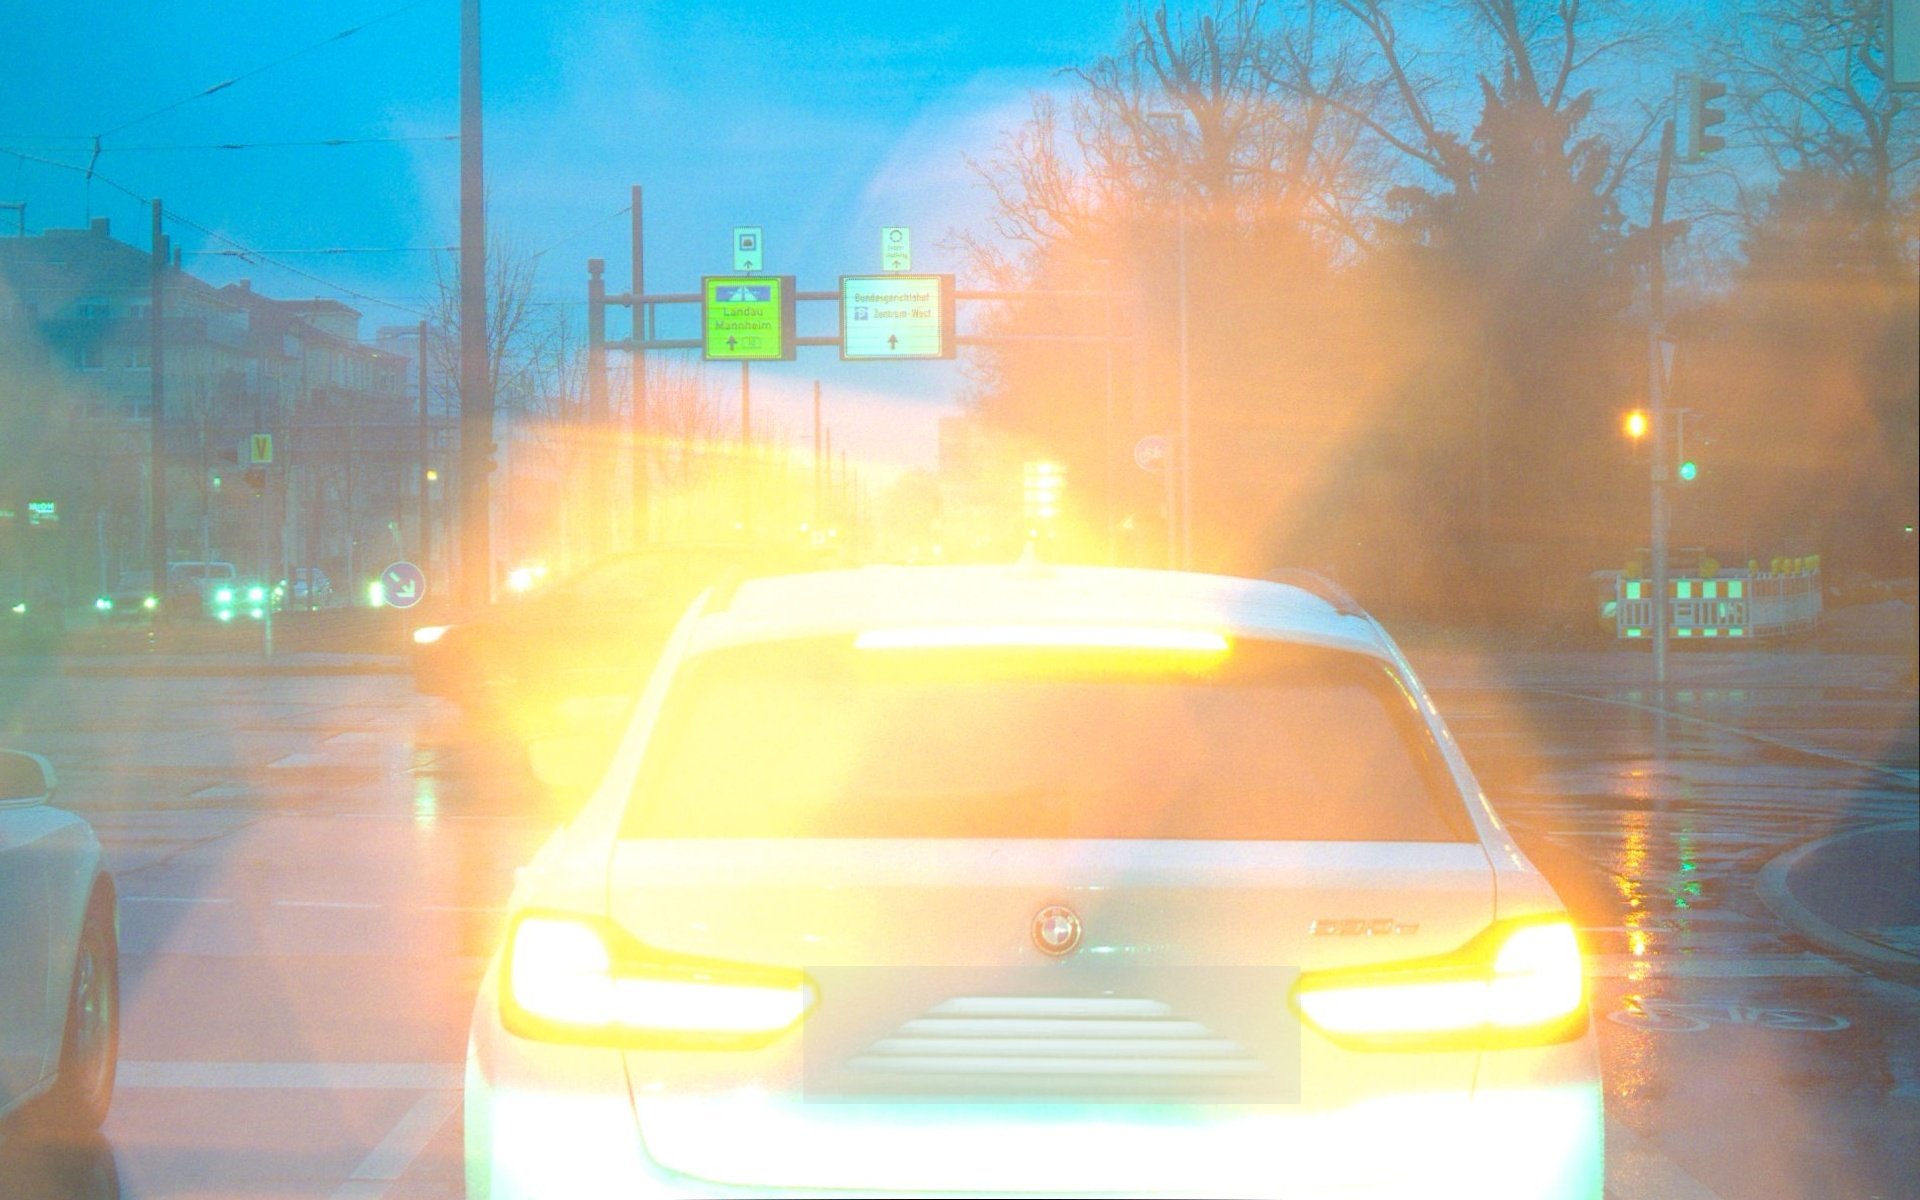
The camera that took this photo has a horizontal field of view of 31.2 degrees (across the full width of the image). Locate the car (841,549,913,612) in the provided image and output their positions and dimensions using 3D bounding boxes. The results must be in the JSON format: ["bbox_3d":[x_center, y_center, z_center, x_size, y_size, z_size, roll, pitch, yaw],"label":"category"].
[{"bbox_3d":[-2.237,-0.516,92.035,1.843,1.603,3.945,1,0,-2],"label":"car"}]

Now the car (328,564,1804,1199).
[{"bbox_3d":[0.054,0.674,6.828,1.993,1.451,4.369,0,1,-2],"label":"car"}]

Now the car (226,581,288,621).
[{"bbox_3d":[-27.322,0.044,133.601,1.675,1.502,3.696,1,0,-1],"label":"car"}]

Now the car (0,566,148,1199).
[{"bbox_3d":[-3.091,0.671,7.046,1.993,1.451,4.369,0,1,-2],"label":"car"}]

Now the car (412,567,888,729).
[{"bbox_3d":[-2.840,0.429,32.000,4.094,1.436,1.839,0,0,8],"label":"car"}]

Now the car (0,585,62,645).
[{"bbox_3d":[-24.715,0.378,89.599,1.675,1.502,3.696,1,0,-1],"label":"car"}]

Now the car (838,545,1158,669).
[{"bbox_3d":[0.396,0.062,40.940,1.752,1.397,3.999,1,0,-36],"label":"car"}]

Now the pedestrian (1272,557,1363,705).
[{"bbox_3d":[4.554,0.389,43.765,0.904,1.850,0.811,1,0,24],"label":"pedestrian"}]

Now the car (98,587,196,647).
[{"bbox_3d":[-21.010,0.431,88.989,1.675,1.502,3.696,1,0,-1],"label":"car"}]
